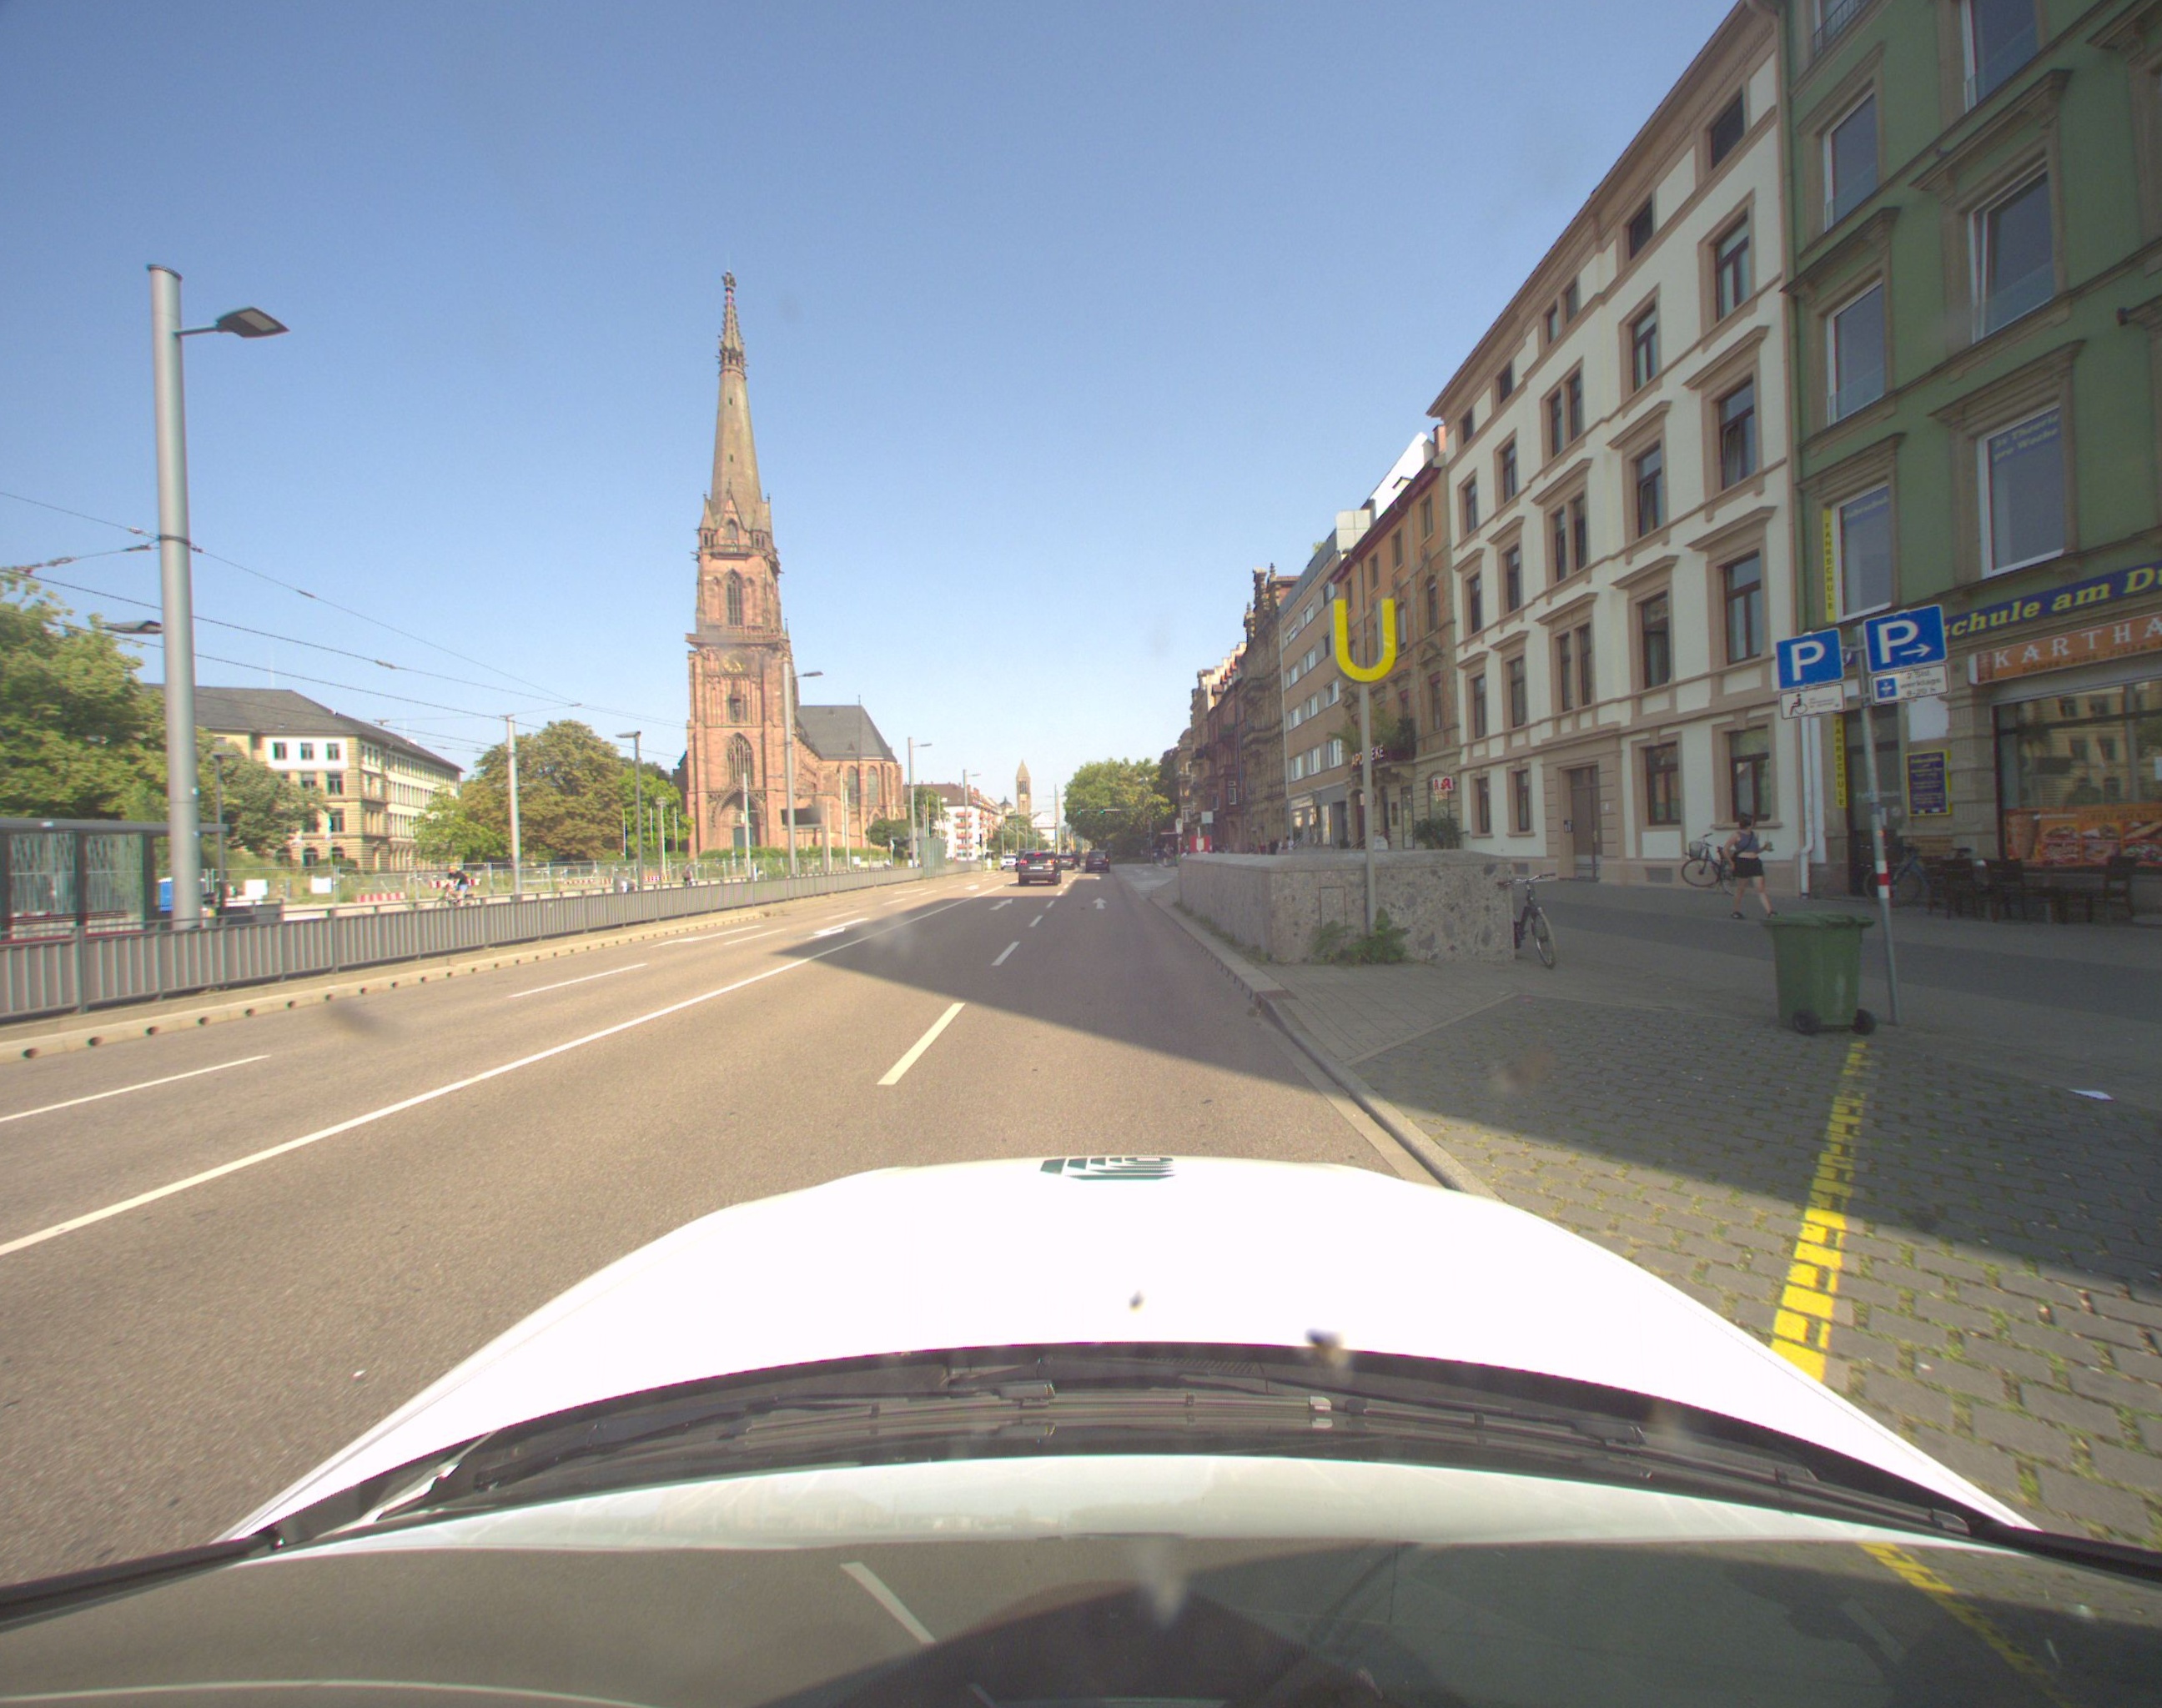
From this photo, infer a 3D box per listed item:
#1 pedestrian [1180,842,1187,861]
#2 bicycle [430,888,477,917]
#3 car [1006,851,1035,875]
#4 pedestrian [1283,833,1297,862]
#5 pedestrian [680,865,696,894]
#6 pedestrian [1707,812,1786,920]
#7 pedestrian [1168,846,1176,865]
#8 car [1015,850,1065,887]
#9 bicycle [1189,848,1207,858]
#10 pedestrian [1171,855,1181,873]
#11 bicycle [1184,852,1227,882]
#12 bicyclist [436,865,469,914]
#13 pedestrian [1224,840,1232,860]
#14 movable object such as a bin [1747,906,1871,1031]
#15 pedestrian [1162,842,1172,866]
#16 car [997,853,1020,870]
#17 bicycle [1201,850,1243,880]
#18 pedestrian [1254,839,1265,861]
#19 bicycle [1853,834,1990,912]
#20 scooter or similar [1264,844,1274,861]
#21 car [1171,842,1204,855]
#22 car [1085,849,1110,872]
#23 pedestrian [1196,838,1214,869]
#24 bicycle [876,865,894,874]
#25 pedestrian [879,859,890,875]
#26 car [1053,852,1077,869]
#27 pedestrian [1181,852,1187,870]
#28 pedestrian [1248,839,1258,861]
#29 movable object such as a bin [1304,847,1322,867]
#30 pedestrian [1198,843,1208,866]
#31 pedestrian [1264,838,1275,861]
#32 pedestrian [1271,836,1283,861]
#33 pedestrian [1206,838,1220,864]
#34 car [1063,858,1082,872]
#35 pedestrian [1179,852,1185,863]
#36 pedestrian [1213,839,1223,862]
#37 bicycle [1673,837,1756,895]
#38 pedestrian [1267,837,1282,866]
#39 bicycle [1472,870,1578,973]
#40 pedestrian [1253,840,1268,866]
[{"bbox_3d":[9.370,-0.223,74.234,0.480,1.702,0.702,-2,0,-2],"label":"pedestrian"},{"bbox_3d":[-23.002,1.763,29.888,0.349,0.954,1.696,-2,0,2],"label":"bicycle"},{"bbox_3d":[-5.290,0.737,72.096,1.986,1.904,4.717,-4,0,1],"label":"car"},{"bbox_3d":[13.238,-0.424,51.682,0.602,1.831,0.742,-2,0,-2],"label":"pedestrian"},{"bbox_3d":[-23.146,1.492,47.974,0.515,1.700,0.664,-2,0,0],"label":"pedestrian"},{"bbox_3d":[10.530,0.185,12.907,0.606,1.629,0.737,-2,0,1],"label":"pedestrian"},{"bbox_3d":[7.541,0.128,67.770,0.526,1.612,0.702,-2,0,-2],"label":"pedestrian"},{"bbox_3d":[-1.872,0.625,38.615,1.986,1.621,4.359,-1,0,2],"label":"car"},{"bbox_3d":[13.606,-0.097,94.696,1.925,1.048,0.499,-2,0,-5],"label":"bicycle"},{"bbox_3d":[7.037,0.762,60.422,0.563,1.277,0.596,-2,0,-3],"label":"pedestrian"},{"bbox_3d":[5.078,0.535,33.211,1.629,1.148,0.385,-3,0,-4],"label":"bicycle"},{"bbox_3d":[-23.032,1.285,29.832,0.485,1.747,0.819,-2,0,2],"label":"bicyclist"},{"bbox_3d":[11.847,-0.323,65.816,0.484,1.610,0.813,-2,0,2],"label":"pedestrian"},{"bbox_3d":[5.770,0.892,6.479,0.487,0.903,0.538,-2,0,4],"label":"movable object such as a bin"},{"bbox_3d":[6.363,-0.005,60.336,0.563,1.729,0.745,-2,0,-2],"label":"pedestrian"},{"bbox_3d":[-7.434,0.731,83.948,1.707,1.611,4.505,-4,0,1],"label":"car"},{"bbox_3d":[5.872,0.454,33.931,1.626,1.148,0.602,-3,0,3],"label":"bicycle"},{"bbox_3d":[13.423,-0.282,61.314,0.602,1.654,0.586,-2,0,-2],"label":"pedestrian"},{"bbox_3d":[13.184,0.274,12.845,0.382,1.134,1.720,-2,0,2],"label":"bicycle"},{"bbox_3d":[12.987,-0.087,56.330,0.359,1.163,1.152,-2,0,-1],"label":"scooter or similar"},{"bbox_3d":[14.863,-0.799,113.996,4.171,1.563,1.998,-2,0,-4],"label":"car"},{"bbox_3d":[1.302,0.485,62.186,1.825,1.621,4.359,-1,0,2],"label":"car"},{"bbox_3d":[7.641,-0.050,50.171,0.923,1.831,0.800,-2,0,-2],"label":"pedestrian"},{"bbox_3d":[-21.285,1.686,88.493,1.748,0.978,0.481,-2,0,10],"label":"bicycle"},{"bbox_3d":[-21.360,1.385,88.494,0.911,1.679,0.604,-2,0,10],"label":"pedestrian"},{"bbox_3d":[-1.366,0.569,72.038,1.857,1.424,4.359,-1,0,2],"label":"car"},{"bbox_3d":[7.261,0.510,57.388,0.275,1.274,0.447,-2,0,-6],"label":"pedestrian"},{"bbox_3d":[13.599,-0.314,64.314,0.627,1.719,0.691,-2,0,1],"label":"pedestrian"},{"bbox_3d":[12.978,0.187,45.546,0.738,1.080,0.666,-2,0,-16],"label":"movable object such as a bin"},{"bbox_3d":[9.028,0.029,60.110,0.563,1.729,0.617,-2,0,-2],"label":"pedestrian"},{"bbox_3d":[13.712,-0.333,59.306,0.602,1.691,0.586,-2,0,-2],"label":"pedestrian"},{"bbox_3d":[13.851,-0.361,57.551,0.602,1.731,0.510,-2,0,-2],"label":"pedestrian"},{"bbox_3d":[8.766,-0.203,54.202,0.747,1.729,0.800,-2,0,-2],"label":"pedestrian"},{"bbox_3d":[-0.907,1.135,88.040,1.857,1.424,4.359,-1,0,2],"label":"car"},{"bbox_3d":[7.233,0.253,58.405,0.302,0.820,0.603,-2,0,-6],"label":"pedestrian"},{"bbox_3d":[11.078,-0.283,65.843,0.614,1.804,1.072,-2,0,2],"label":"pedestrian"},{"bbox_3d":[13.041,0.228,16.828,0.382,1.134,1.720,-2,0,2],"label":"bicycle"},{"bbox_3d":[12.143,-0.170,51.173,0.717,1.787,0.856,-2,0,2],"label":"pedestrian"},{"bbox_3d":[5.570,0.799,10.327,0.382,1.134,1.791,-2,0,2],"label":"bicycle"},{"bbox_3d":[11.349,-0.055,51.566,0.717,1.610,0.856,-2,0,2],"label":"pedestrian"}]
